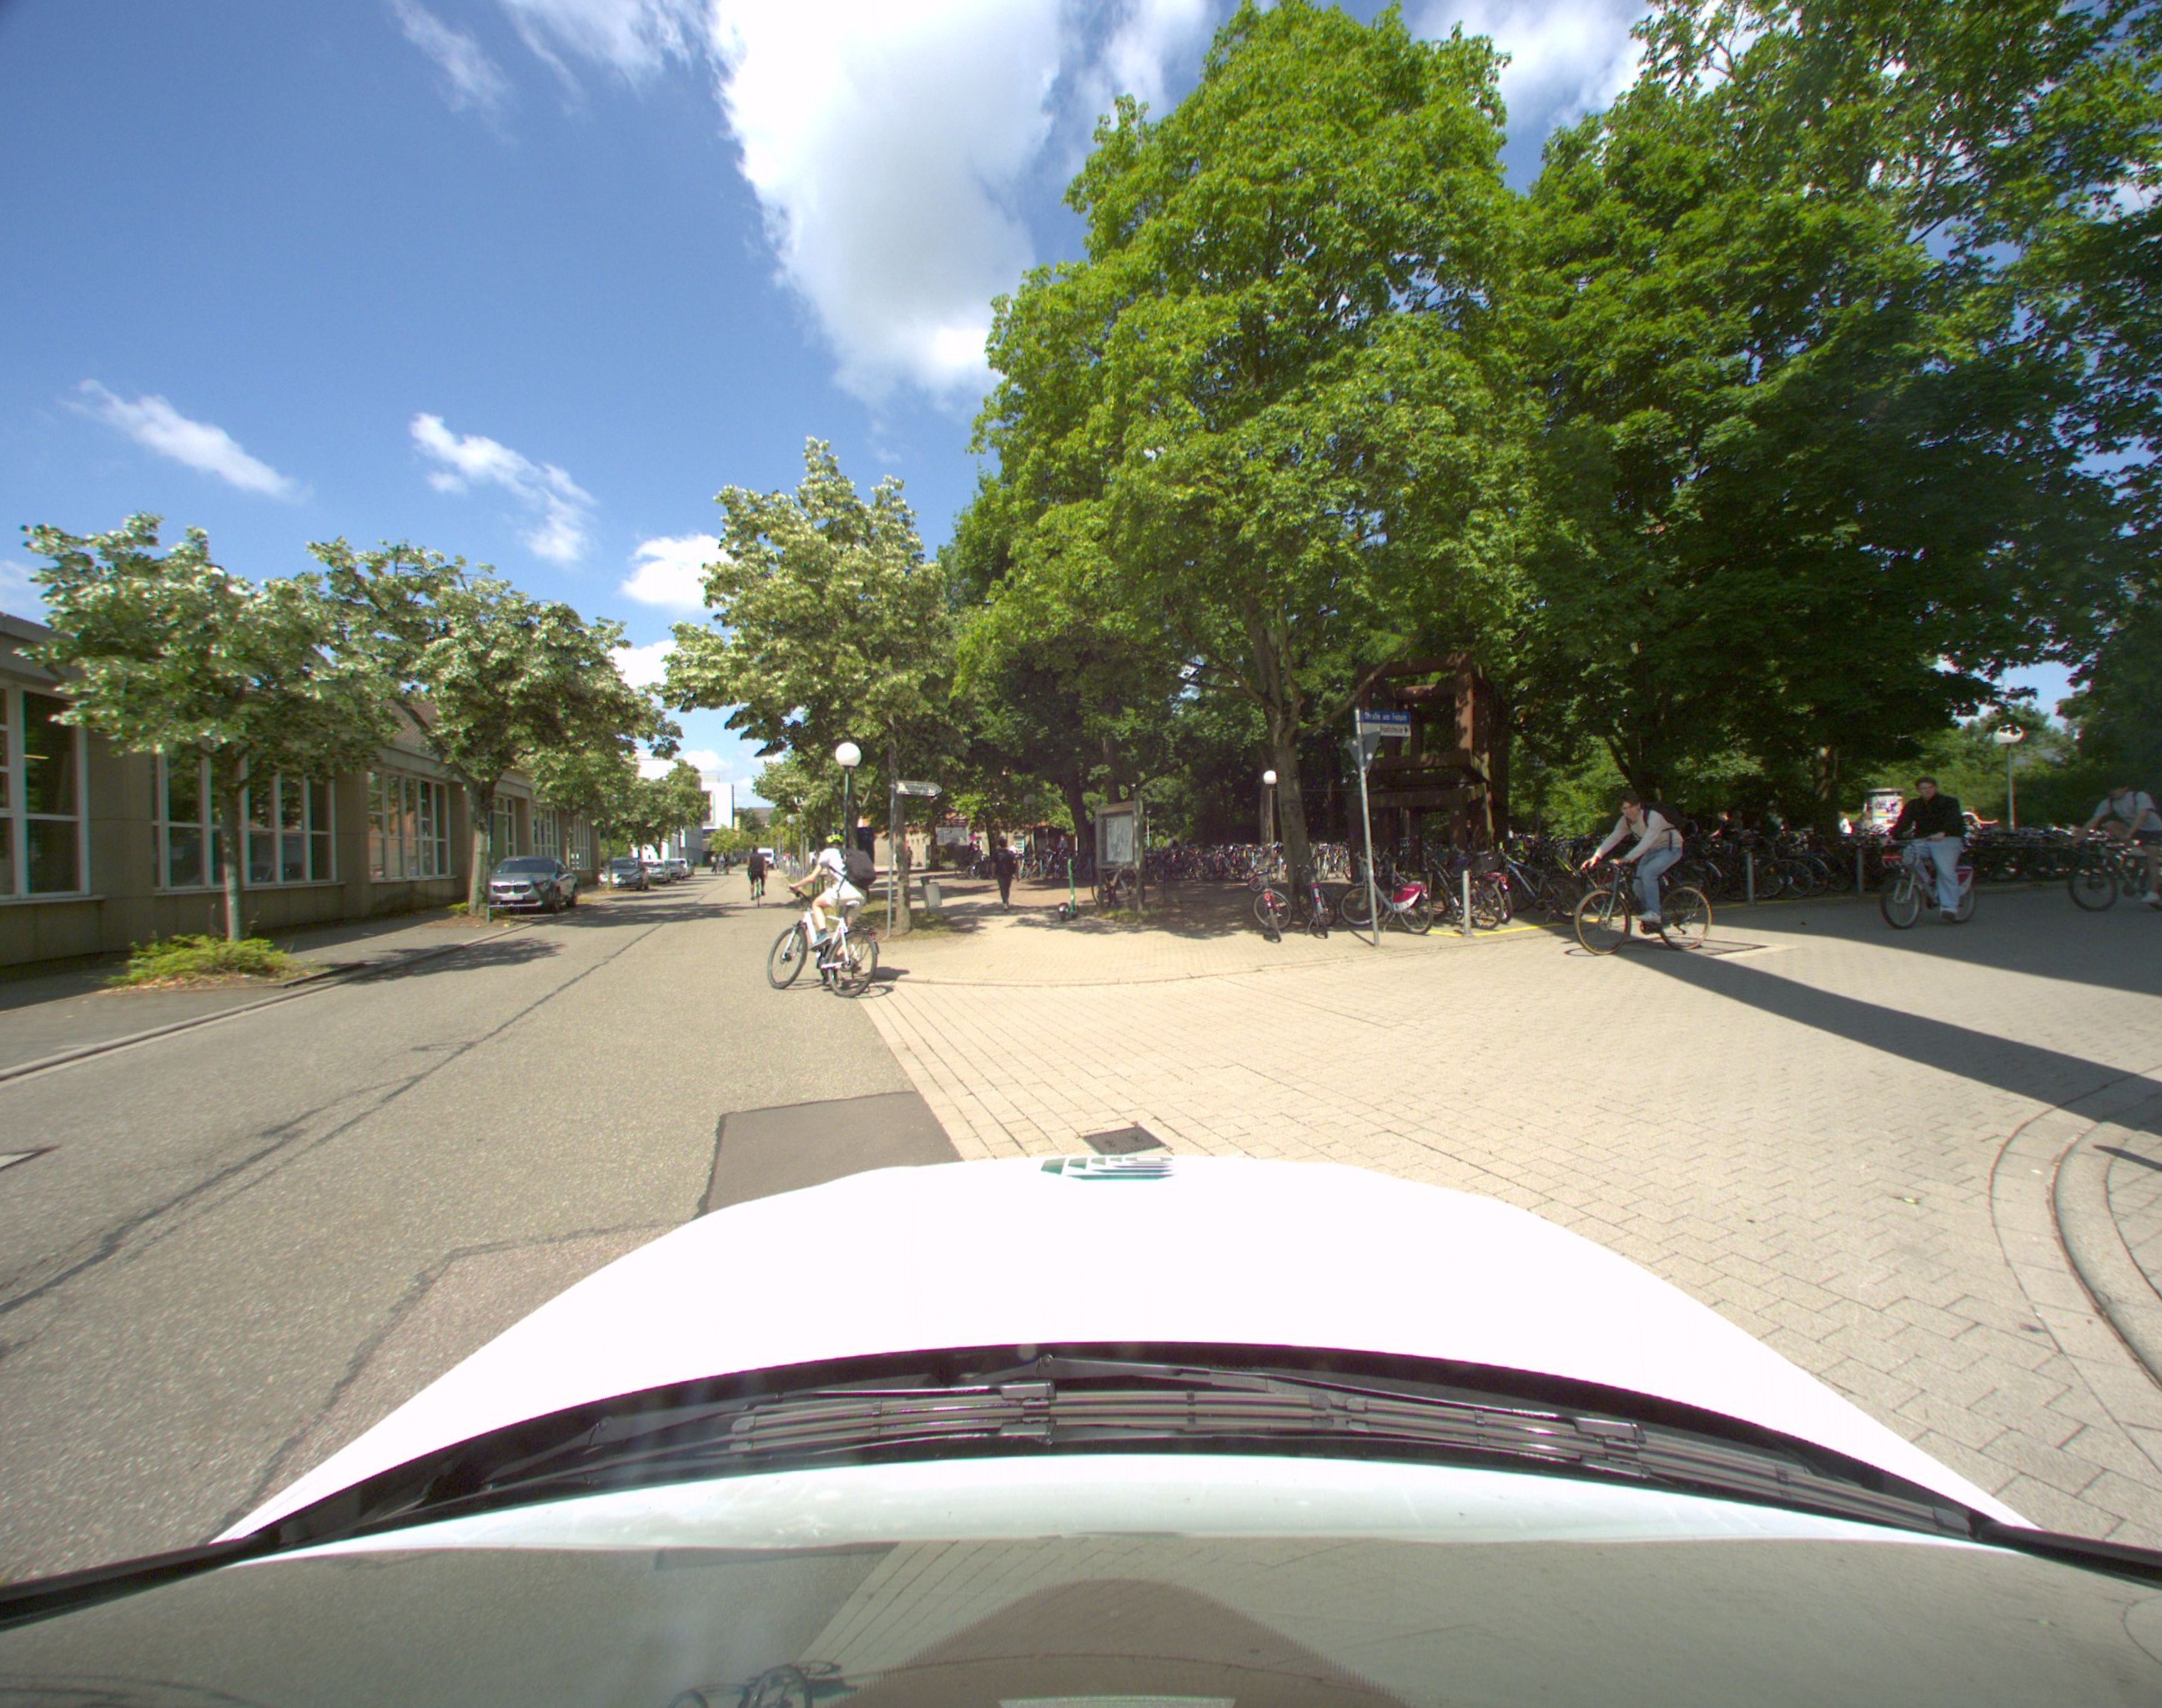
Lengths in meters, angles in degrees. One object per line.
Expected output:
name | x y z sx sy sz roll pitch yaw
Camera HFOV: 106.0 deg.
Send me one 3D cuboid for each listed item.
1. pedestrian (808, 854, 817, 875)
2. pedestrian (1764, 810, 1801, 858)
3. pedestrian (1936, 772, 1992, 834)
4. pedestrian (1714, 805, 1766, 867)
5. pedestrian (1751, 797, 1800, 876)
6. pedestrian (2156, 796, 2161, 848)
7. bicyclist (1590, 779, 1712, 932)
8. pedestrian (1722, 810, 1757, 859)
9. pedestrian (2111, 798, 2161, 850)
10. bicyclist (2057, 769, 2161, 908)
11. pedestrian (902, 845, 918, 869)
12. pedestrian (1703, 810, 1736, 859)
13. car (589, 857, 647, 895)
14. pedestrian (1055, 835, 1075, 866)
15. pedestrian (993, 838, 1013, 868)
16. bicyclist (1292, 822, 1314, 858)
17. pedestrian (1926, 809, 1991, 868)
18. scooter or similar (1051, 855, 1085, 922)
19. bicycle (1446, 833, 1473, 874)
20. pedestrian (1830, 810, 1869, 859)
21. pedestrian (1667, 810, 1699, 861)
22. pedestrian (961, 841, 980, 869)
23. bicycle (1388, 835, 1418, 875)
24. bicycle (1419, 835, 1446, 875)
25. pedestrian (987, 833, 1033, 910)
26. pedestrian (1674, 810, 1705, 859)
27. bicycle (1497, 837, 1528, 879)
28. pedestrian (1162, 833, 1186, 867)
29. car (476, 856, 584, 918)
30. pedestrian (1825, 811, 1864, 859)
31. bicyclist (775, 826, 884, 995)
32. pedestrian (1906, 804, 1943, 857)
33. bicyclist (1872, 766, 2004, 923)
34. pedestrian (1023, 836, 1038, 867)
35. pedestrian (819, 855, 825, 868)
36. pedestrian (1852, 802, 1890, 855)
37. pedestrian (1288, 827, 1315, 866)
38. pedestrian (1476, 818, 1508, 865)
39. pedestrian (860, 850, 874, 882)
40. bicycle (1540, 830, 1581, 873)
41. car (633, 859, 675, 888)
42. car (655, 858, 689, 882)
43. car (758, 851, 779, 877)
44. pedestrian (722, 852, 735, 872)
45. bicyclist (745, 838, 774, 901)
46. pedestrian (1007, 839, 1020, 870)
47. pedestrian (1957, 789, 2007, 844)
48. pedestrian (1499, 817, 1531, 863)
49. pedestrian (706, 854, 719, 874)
pedestrian | -19.900 0.786 60.384 0.622 1.519 0.731 -2 1 -19
pedestrian | 24.747 -0.708 28.748 0.895 1.679 0.775 0 1 35
pedestrian | 27.334 -1.568 25.229 0.931 1.835 0.689 -2 0 13
pedestrian | 18.455 -0.497 22.818 0.897 1.702 0.773 -1 1 16
pedestrian | 16.430 -0.415 19.262 0.713 1.806 0.761 -2 1 -39
pedestrian | 38.050 -1.109 28.085 0.877 1.815 0.835 -1 1 1
bicyclist | 6.146 0.005 8.807 0.869 1.573 0.641 -2 2 2
pedestrian | 23.323 -0.688 28.865 0.895 1.679 0.775 0 1 35
pedestrian | 37.822 -1.074 29.123 0.977 1.803 0.770 -1 1 2
bicyclist | 14.730 -0.225 11.557 0.866 1.891 0.802 -1 2 -13
pedestrian | -12.931 0.189 61.518 0.774 1.774 0.896 -2 1 -39
pedestrian | 23.542 -0.725 30.050 0.895 1.774 0.775 0 1 35
car | -21.963 1.011 38.812 1.840 1.633 4.504 -2 1 -23
pedestrian | -0.943 -0.191 48.285 0.774 1.802 0.896 -2 1 -39
pedestrian | -4.792 -0.062 50.028 0.774 1.774 0.896 -2 1 -39
bicyclist | 9.605 -0.604 35.289 0.599 1.568 0.713 -2 1 -44
pedestrian | 26.207 -0.461 24.338 1.054 1.724 0.721 -2 0 11
scooter or similar | -0.238 0.627 15.332 0.289 1.194 1.190 -2 0 14
bicycle | 10.813 -0.025 23.253 0.496 1.108 1.791 0 1 31
pedestrian | 26.640 -0.666 28.246 0.895 1.679 0.775 0 1 35
pedestrian | 21.522 -0.659 29.112 0.895 1.774 0.775 0 1 35
pedestrian | -7.157 0.080 52.587 0.924 1.774 0.777 -2 1 -39
bicycle | 9.408 -0.003 23.746 0.496 1.108 1.919 0 1 31
bicycle | 10.212 0.009 23.640 0.496 1.108 1.791 0 1 31
pedestrian | -1.616 0.385 18.418 0.729 1.684 0.867 -2 0 -25
pedestrian | 22.208 -0.712 29.738 0.895 1.774 0.775 0 1 35
bicycle | 11.956 0.100 22.609 0.497 1.108 1.708 -1 1 19
pedestrian | 4.811 -0.212 42.181 0.774 1.774 0.896 -2 1 -39
car | -16.271 0.898 24.292 1.840 1.617 4.504 0 0 -23
pedestrian | 27.098 -0.665 28.911 0.895 1.679 0.775 0 1 35
bicyclist | -2.797 0.612 9.095 0.888 1.801 0.608 -3 0 19
pedestrian | 28.393 -0.781 27.429 0.677 1.724 0.736 -2 0 32
bicyclist | 10.675 -0.126 10.170 0.965 1.887 0.673 -1 2 -7
pedestrian | -2.922 -0.126 47.317 0.611 1.774 0.653 -2 1 -29
pedestrian | -31.648 0.893 99.624 0.572 1.519 0.833 -2 1 -27
pedestrian | 26.100 -0.845 26.910 0.732 1.724 0.681 -1 2 -23
pedestrian | 10.053 -0.347 37.173 0.770 1.774 0.901 -2 1 -21
pedestrian | 15.841 -0.481 31.381 0.774 1.774 0.896 -2 1 -44
pedestrian | -10.381 0.566 39.562 0.569 1.519 0.837 -1 1 -13
bicycle | 13.012 -0.081 22.145 0.624 1.108 1.708 -1 1 19
car | -25.787 1.139 49.274 1.840 1.541 4.504 -2 1 -23
car | -28.829 1.121 57.520 1.840 1.541 4.504 -2 1 -23
car | -37.709 1.191 98.123 2.271 3.014 5.696 0 -1 -22
pedestrian | -31.715 0.735 73.346 0.774 1.774 0.896 -2 1 -44
bicyclist | -9.966 0.468 25.242 0.672 1.875 0.820 -3 0 -27
pedestrian | -3.883 0.000 47.082 0.504 1.771 0.665 -2 1 -27
pedestrian | 28.895 -1.196 26.109 0.679 1.724 0.928 -2 0 -30
pedestrian | 17.079 -0.554 32.065 0.774 1.774 0.896 -2 1 -43
pedestrian | -32.760 0.881 72.425 0.774 1.774 0.896 -2 1 -44
